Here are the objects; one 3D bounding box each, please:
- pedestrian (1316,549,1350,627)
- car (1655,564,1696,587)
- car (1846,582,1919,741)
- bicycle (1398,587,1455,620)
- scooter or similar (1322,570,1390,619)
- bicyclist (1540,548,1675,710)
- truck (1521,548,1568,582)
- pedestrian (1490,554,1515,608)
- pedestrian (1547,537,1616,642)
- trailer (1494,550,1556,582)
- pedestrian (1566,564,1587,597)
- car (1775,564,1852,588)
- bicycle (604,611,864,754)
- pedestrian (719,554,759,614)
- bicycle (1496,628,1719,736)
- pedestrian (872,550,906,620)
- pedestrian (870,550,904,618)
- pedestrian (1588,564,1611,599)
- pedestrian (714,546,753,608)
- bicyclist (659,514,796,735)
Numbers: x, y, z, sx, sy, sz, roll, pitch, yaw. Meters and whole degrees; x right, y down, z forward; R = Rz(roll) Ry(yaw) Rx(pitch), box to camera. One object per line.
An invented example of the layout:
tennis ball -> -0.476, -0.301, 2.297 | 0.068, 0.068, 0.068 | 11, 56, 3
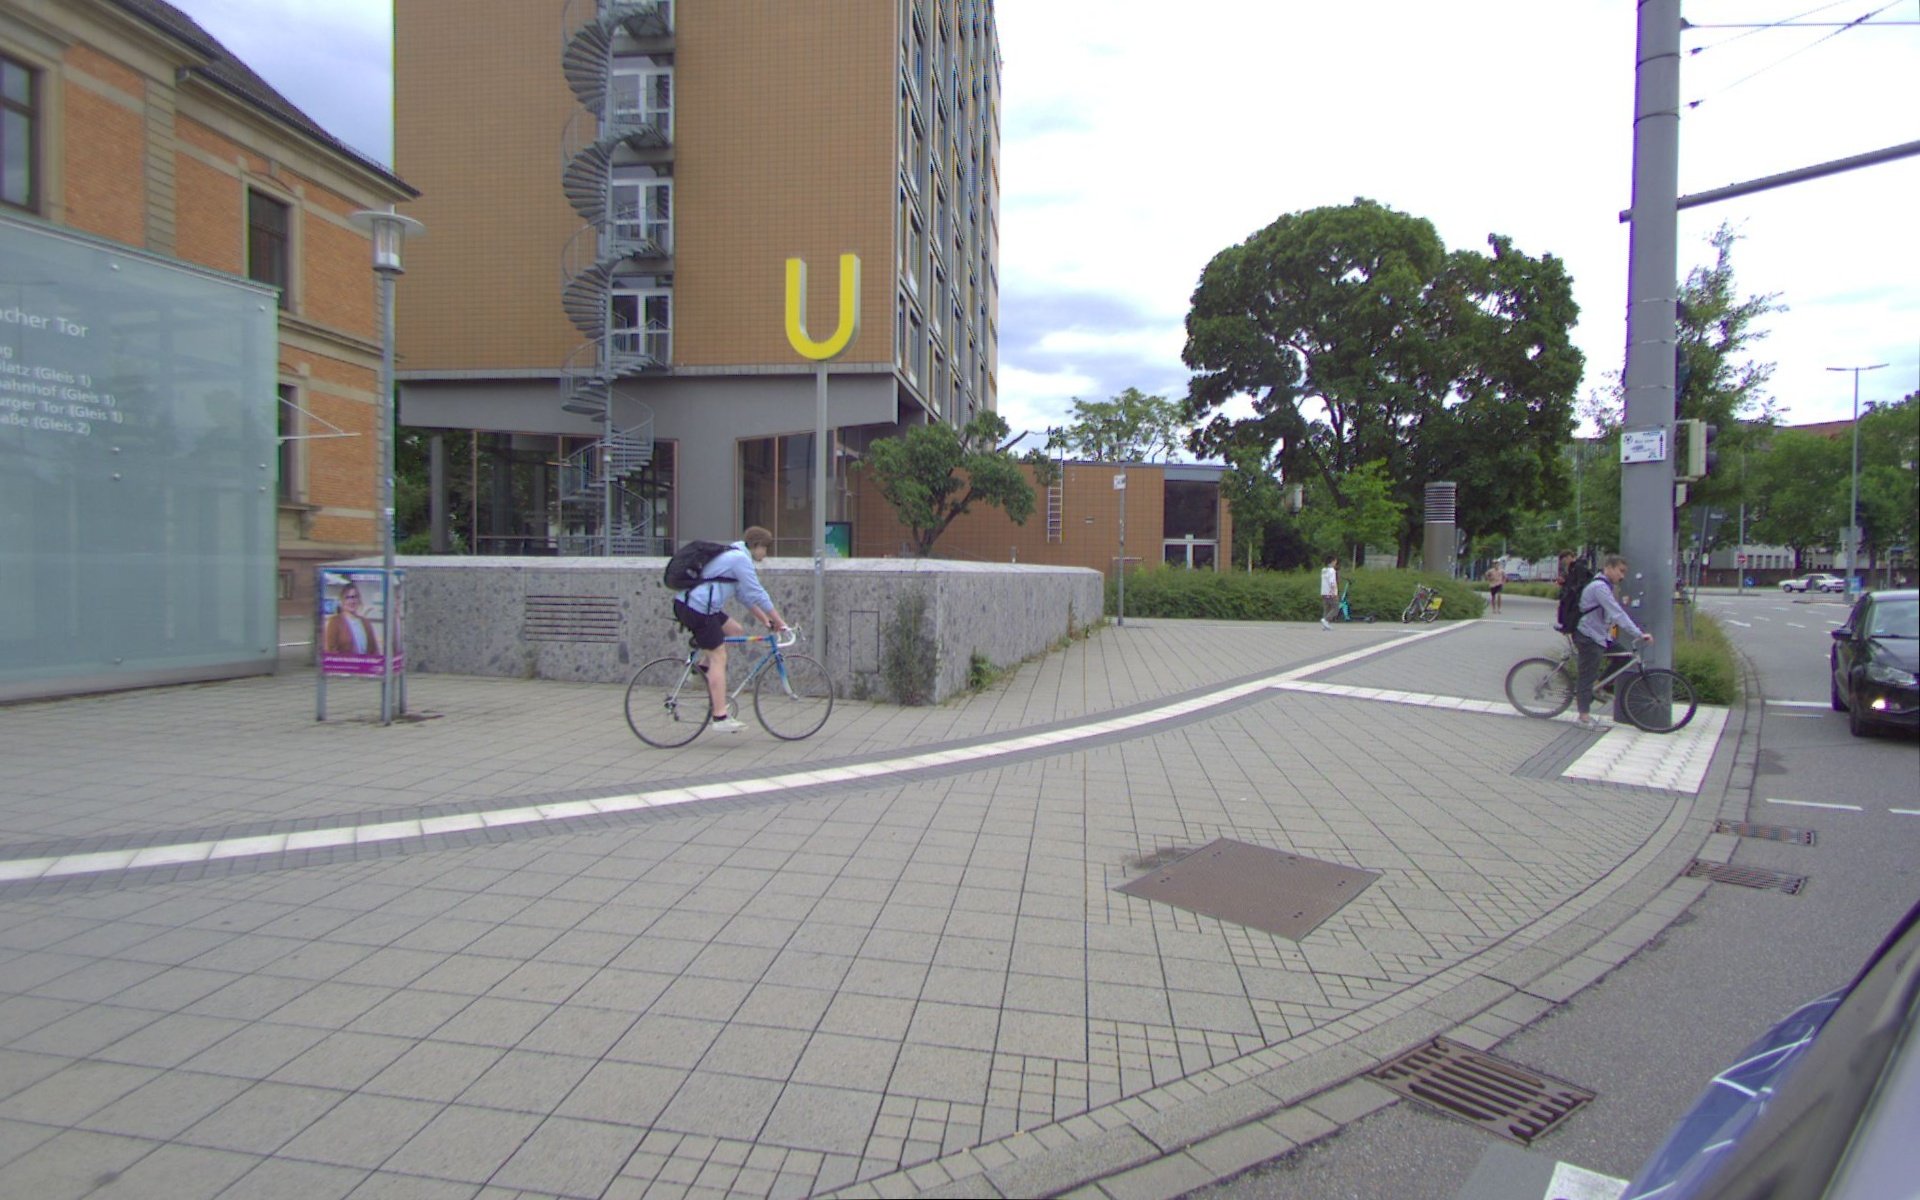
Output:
pedestrian -> 9.000, -0.301, 24.433 | 0.694, 1.827, 0.834 | 1, 1, 18
car -> 66.088, -2.254, 93.477 | 1.974, 2.039, 3.964 | 0, 1, 18
car -> 10.389, 0.557, 10.548 | 1.649, 1.430, 3.942 | 2, 2, 40
bicycle -> 12.943, 0.085, 28.046 | 2.036, 0.859, 0.558 | -1, 2, -38
scooter or similar -> 10.824, -0.145, 27.710 | 1.577, 1.306, 0.694 | -1, 1, 6
bicyclist -> 6.528, 0.258, 10.242 | 1.093, 1.539, 0.751 | 1, 1, 33
truck -> 74.169, -4.413, 128.569 | 2.868, 4.075, 7.140 | -1, 1, 11
pedestrian -> 19.032, -0.674, 35.508 | 0.627, 1.822, 0.590 | 5, 3, 33
pedestrian -> 11.867, -0.207, 19.350 | 0.858, 1.952, 0.724 | 0, 1, 4
trailer -> 75.482, -4.514, 135.631 | 2.901, 4.063, 13.770 | -1, 1, 10
pedestrian -> 35.296, -1.112, 57.934 | 0.706, 1.822, 0.599 | 2, 3, -10
car -> 64.186, -1.781, 76.167 | 1.958, 1.749, 4.008 | -1, 1, -13
bicycle -> -1.708, 0.600, 7.656 | 1.820, 0.944, 0.675 | 1, 4, -17
pedestrian -> -6.165, -0.449, 28.215 | 0.861, 1.651, 0.721 | 1, 1, 14
bicycle -> 6.512, 0.791, 10.271 | 1.814, 0.850, 0.758 | 4, 3, 33
pedestrian -> -1.816, -0.393, 25.977 | 0.857, 1.752, 0.725 | 0, 1, -1
pedestrian -> -1.926, -0.430, 26.856 | 0.857, 1.764, 0.725 | 0, 1, -1
pedestrian -> 34.108, -1.006, 53.997 | 0.706, 1.822, 0.599 | 2, 3, -10
pedestrian -> -6.519, -0.656, 29.144 | 0.861, 1.758, 0.721 | 1, 1, 14
bicyclist -> -1.778, 0.168, 7.667 | 0.907, 1.579, 0.695 | 1, 2, -18
